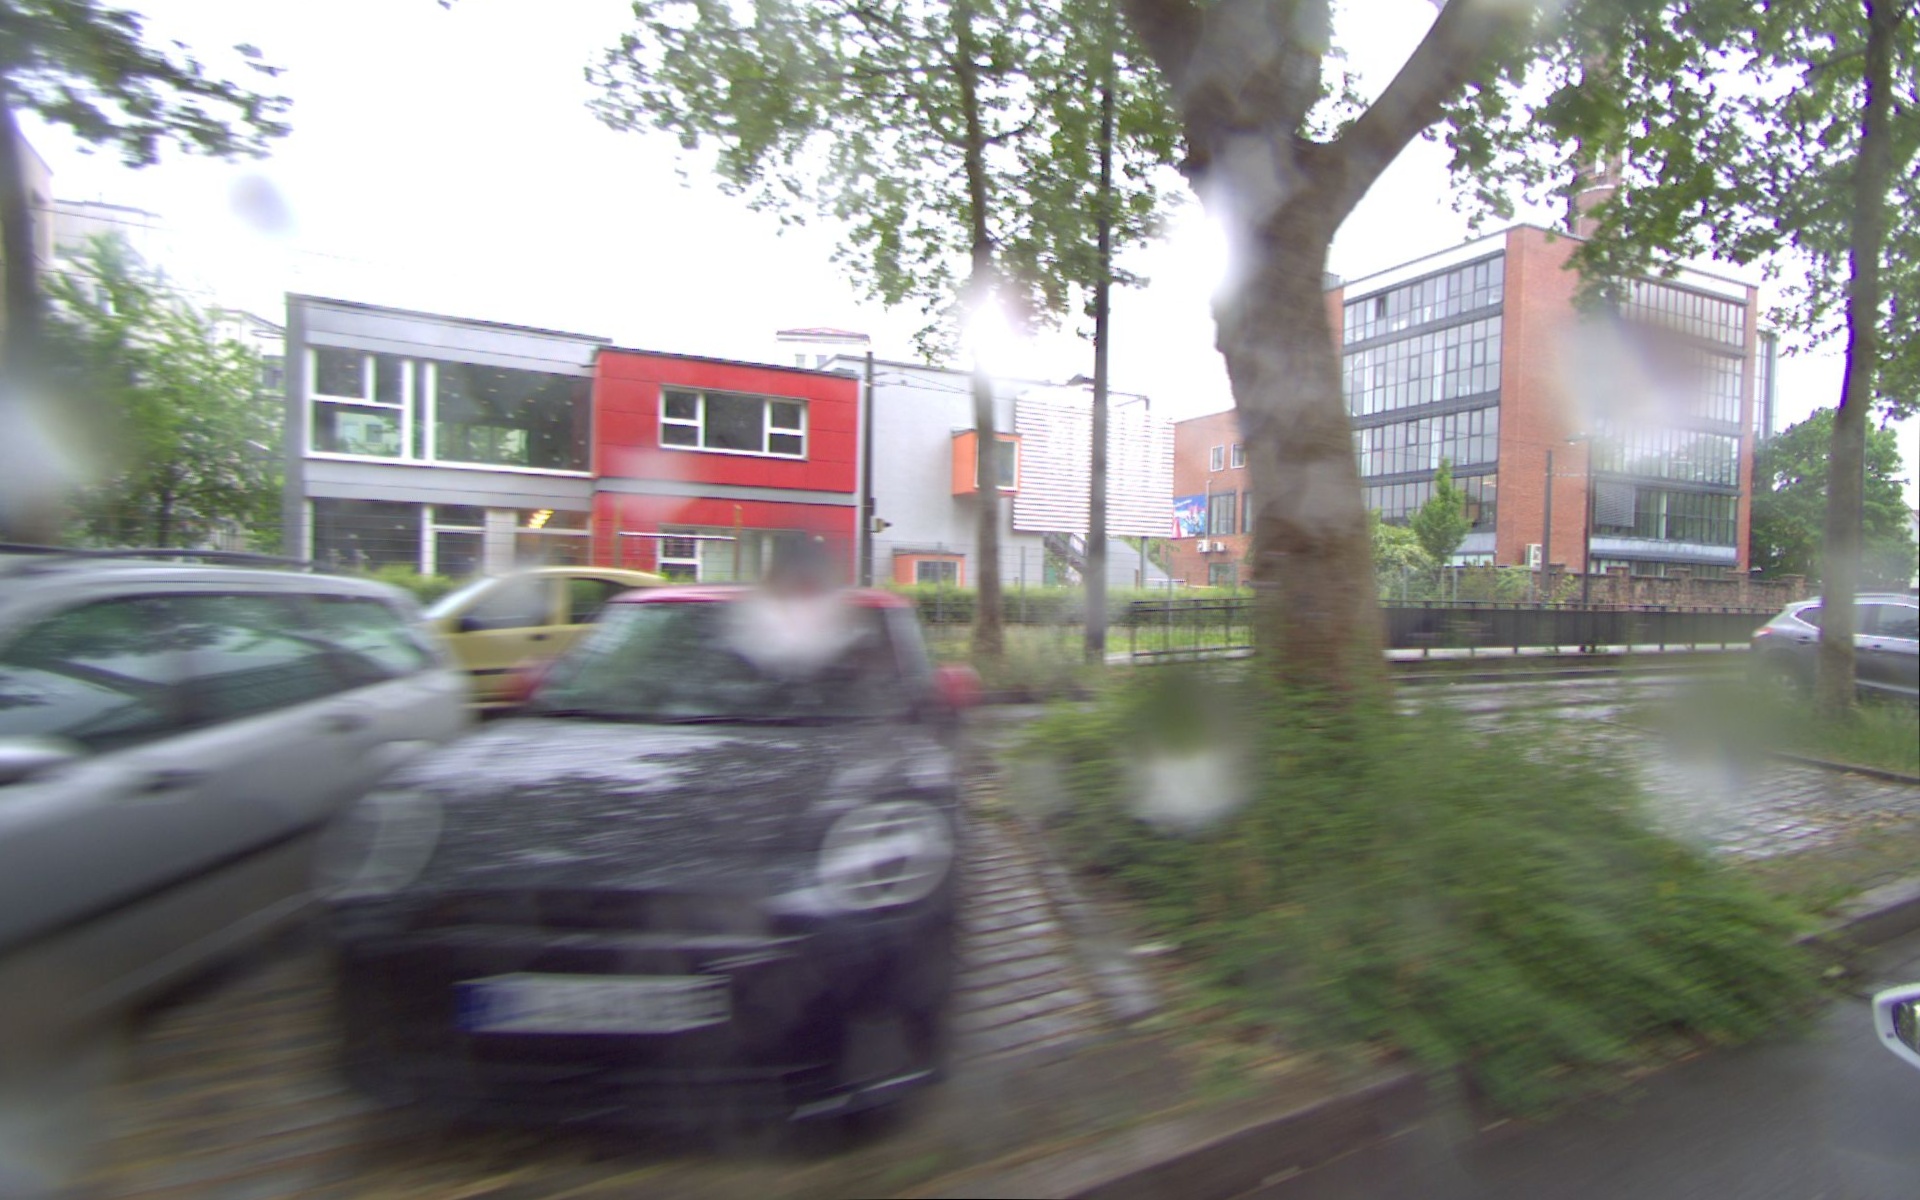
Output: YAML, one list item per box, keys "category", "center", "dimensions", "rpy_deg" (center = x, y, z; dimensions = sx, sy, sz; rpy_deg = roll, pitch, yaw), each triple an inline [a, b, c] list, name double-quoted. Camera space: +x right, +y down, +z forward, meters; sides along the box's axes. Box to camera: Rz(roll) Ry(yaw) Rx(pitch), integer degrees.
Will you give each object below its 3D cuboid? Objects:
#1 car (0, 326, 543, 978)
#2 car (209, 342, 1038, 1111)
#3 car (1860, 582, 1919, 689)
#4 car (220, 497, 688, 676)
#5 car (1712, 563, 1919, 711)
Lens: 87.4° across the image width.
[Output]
- category: "car"
  center: [-3.071, 0.092, 2.946]
  dimensions: [1.740, 1.502, 4.561]
  rpy_deg: [2, 0, 0]
- category: "car"
  center: [-0.675, 0.260, 4.009]
  dimensions: [1.688, 1.541, 3.818]
  rpy_deg: [2, 0, 1]
- category: "car"
  center: [14.746, 0.548, 13.150]
  dimensions: [1.885, 1.541, 4.561]
  rpy_deg: [2, 0, 2]
- category: "car"
  center: [-5.095, -0.080, 10.468]
  dimensions: [3.954, 1.528, 1.984]
  rpy_deg: [3, 1, -30]
- category: "car"
  center: [11.440, 0.424, 11.615]
  dimensions: [1.886, 1.618, 4.470]
  rpy_deg: [2, 2, -4]
